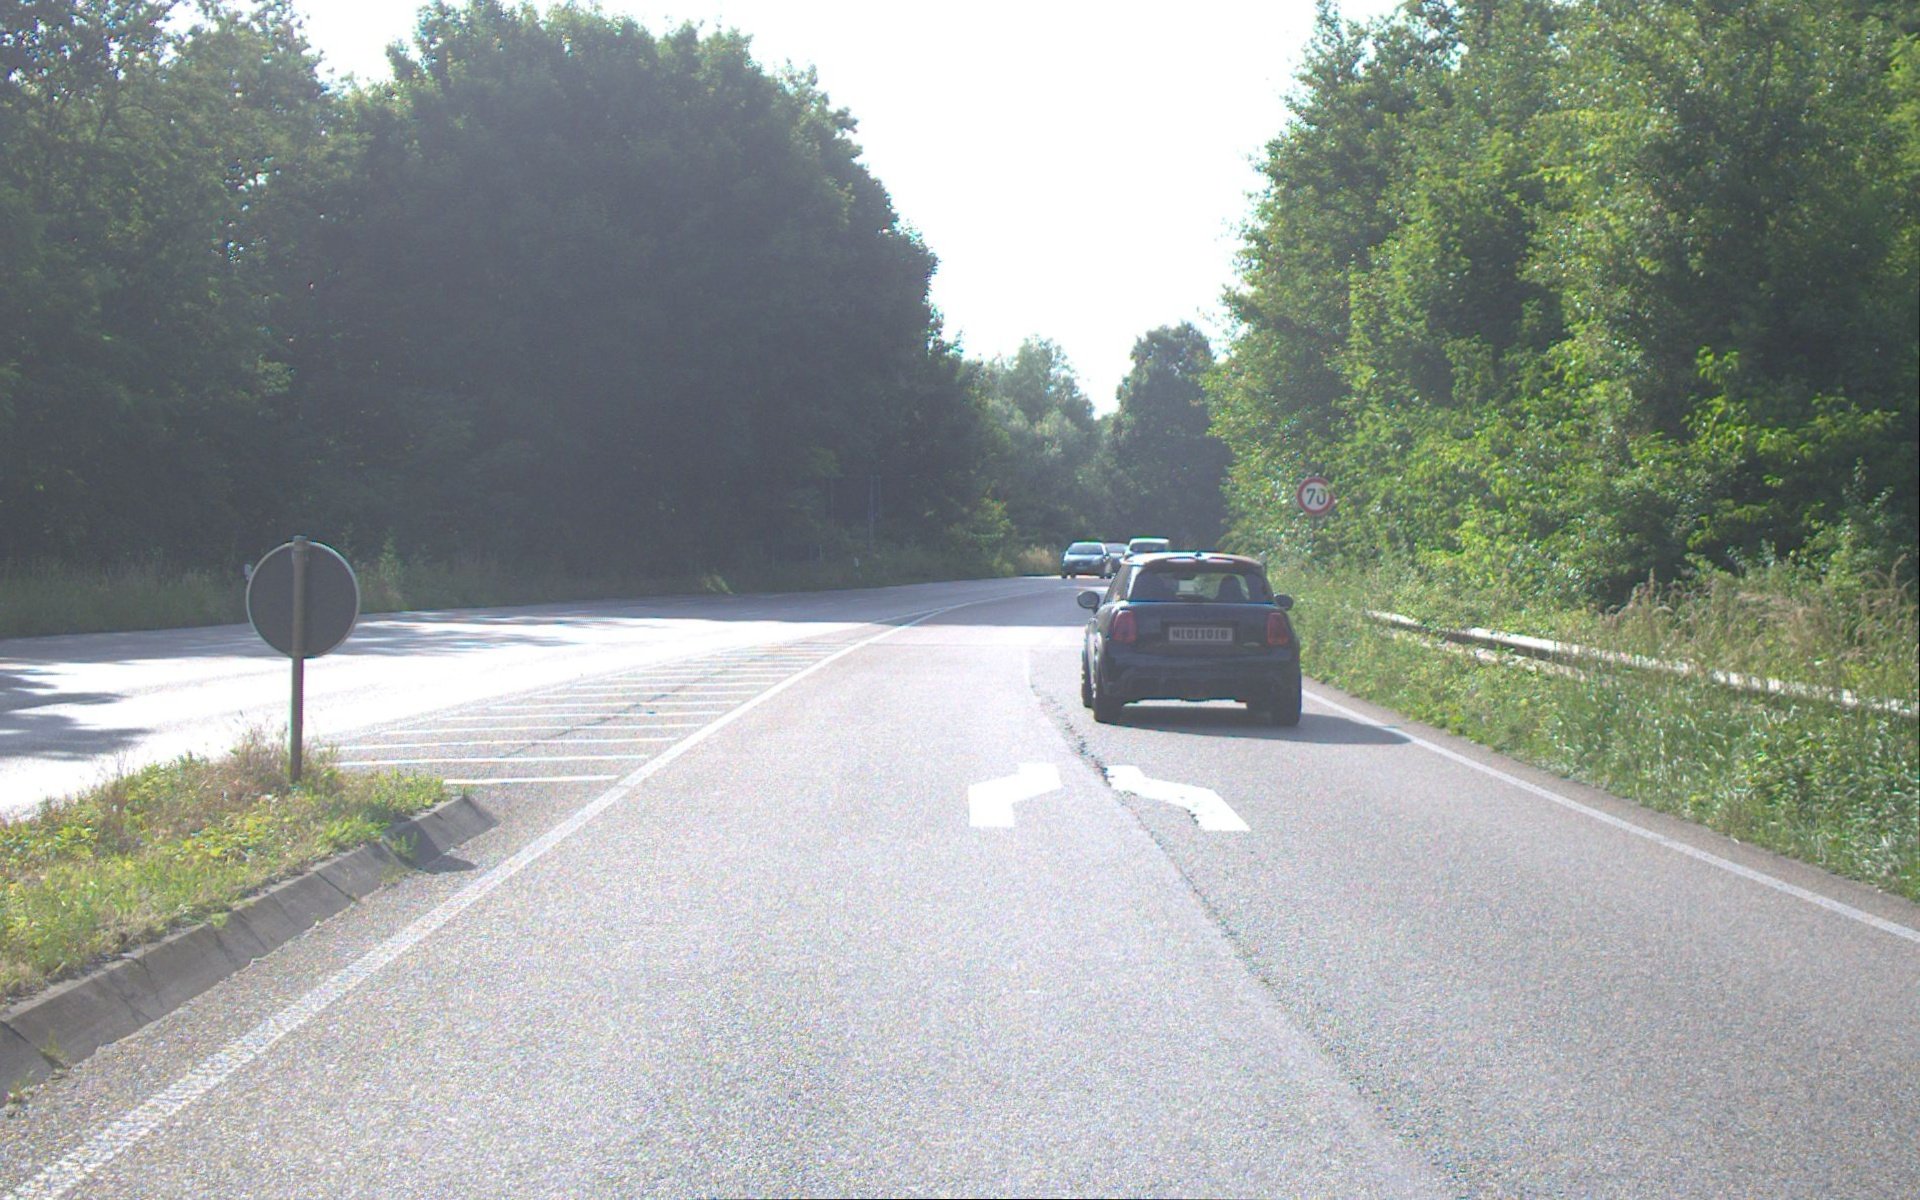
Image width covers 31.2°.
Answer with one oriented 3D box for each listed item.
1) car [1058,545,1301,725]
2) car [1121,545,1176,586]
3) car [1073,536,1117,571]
[{"bbox_3d":[1.855,0.287,30.135,1.819,1.463,3.873,0,0,-1],"label":"car"},{"bbox_3d":[6.531,-1.201,119.363,1.761,1.375,3.971,0,0,1],"label":"car"},{"bbox_3d":[5.476,-1.876,139.904,1.761,1.375,3.971,0,0,2],"label":"car"}]
